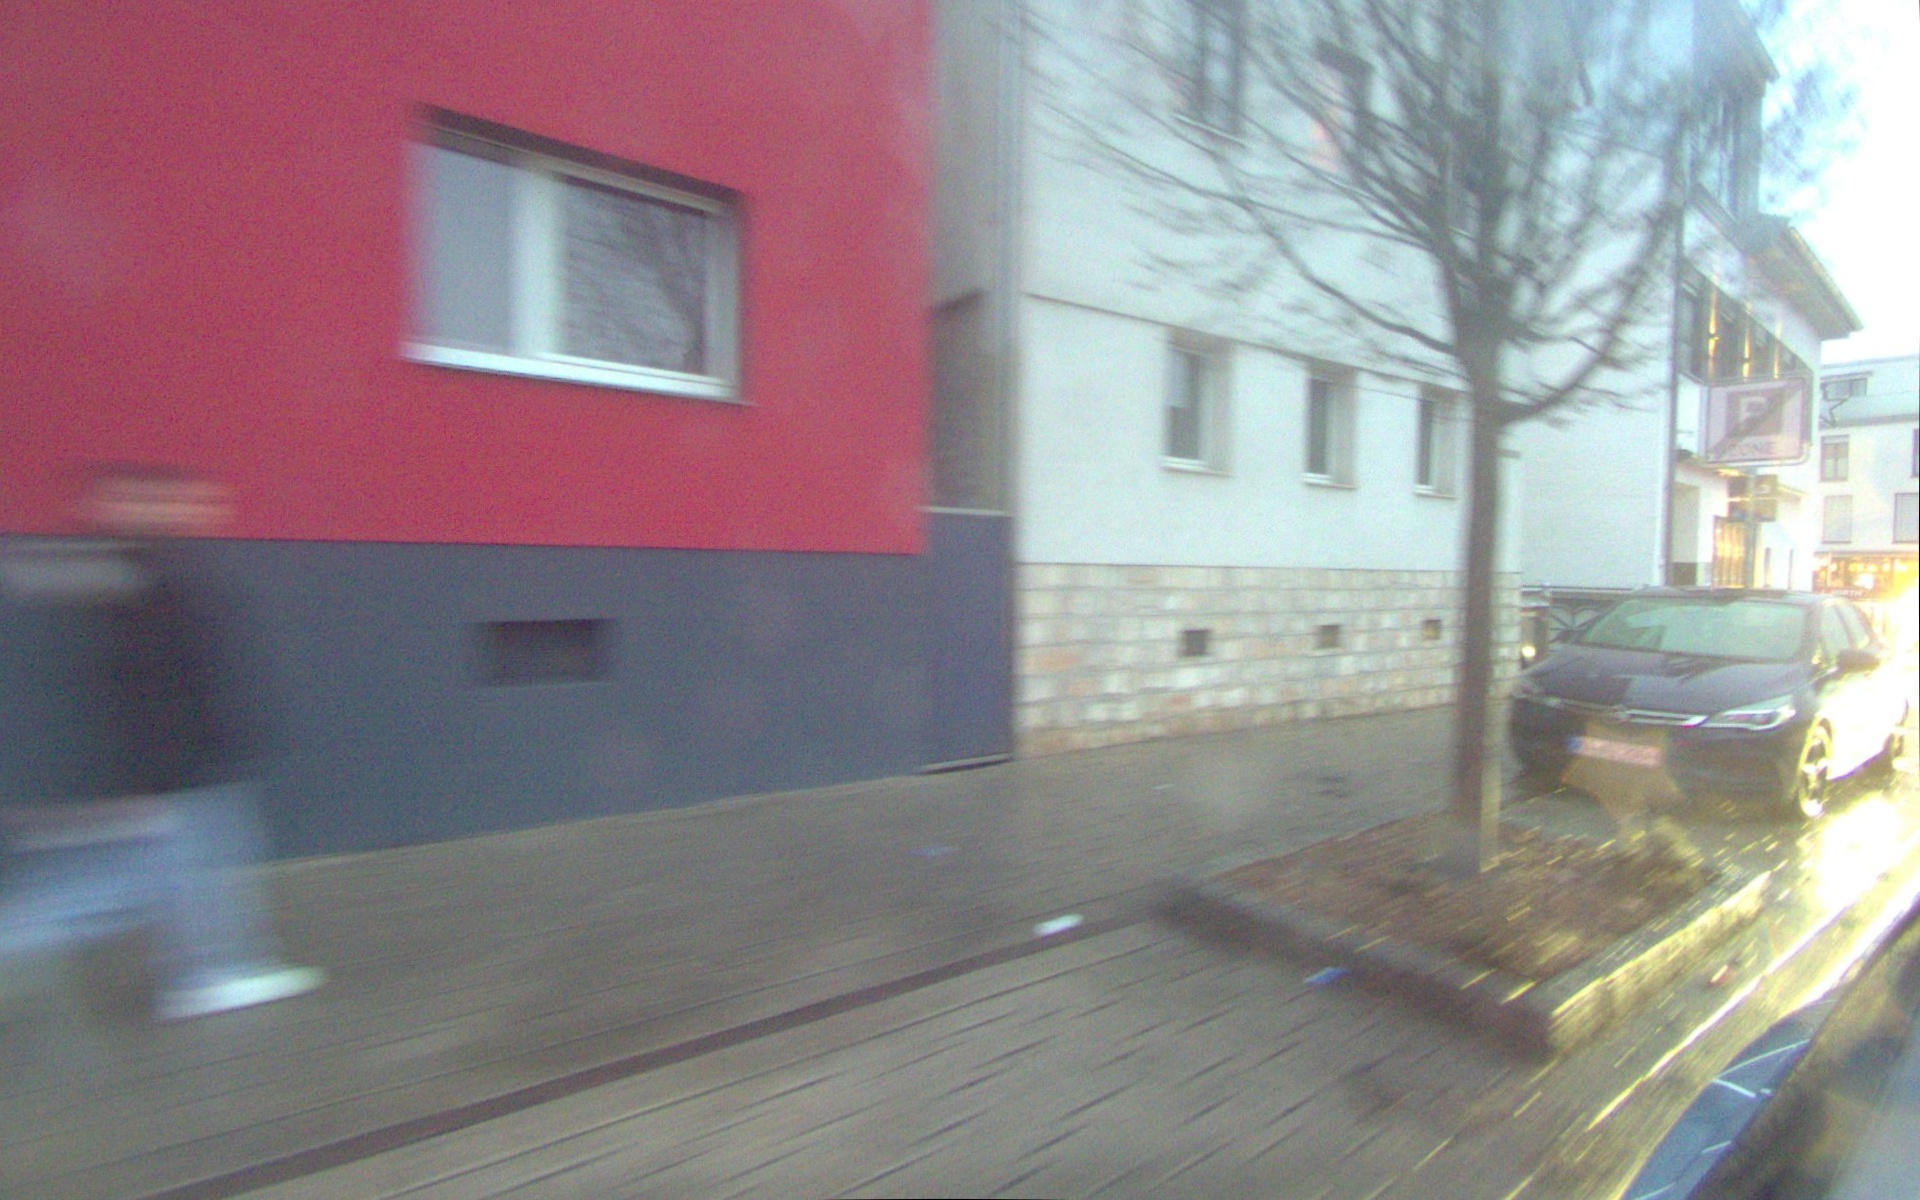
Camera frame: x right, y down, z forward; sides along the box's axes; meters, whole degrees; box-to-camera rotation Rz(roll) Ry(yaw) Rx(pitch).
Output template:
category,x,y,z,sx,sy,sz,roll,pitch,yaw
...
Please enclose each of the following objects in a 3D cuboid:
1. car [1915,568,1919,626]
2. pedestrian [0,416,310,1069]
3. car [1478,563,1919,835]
category,x,y,z,sx,sy,sz,roll,pitch,yaw
car,29.554,-0.034,29.588,1.815,1.767,3.950,-1,2,36
pedestrian,-2.466,0.356,2.913,0.935,1.673,0.531,-3,1,-32
car,5.868,0.545,7.719,4.121,1.482,1.734,0,4,-37
